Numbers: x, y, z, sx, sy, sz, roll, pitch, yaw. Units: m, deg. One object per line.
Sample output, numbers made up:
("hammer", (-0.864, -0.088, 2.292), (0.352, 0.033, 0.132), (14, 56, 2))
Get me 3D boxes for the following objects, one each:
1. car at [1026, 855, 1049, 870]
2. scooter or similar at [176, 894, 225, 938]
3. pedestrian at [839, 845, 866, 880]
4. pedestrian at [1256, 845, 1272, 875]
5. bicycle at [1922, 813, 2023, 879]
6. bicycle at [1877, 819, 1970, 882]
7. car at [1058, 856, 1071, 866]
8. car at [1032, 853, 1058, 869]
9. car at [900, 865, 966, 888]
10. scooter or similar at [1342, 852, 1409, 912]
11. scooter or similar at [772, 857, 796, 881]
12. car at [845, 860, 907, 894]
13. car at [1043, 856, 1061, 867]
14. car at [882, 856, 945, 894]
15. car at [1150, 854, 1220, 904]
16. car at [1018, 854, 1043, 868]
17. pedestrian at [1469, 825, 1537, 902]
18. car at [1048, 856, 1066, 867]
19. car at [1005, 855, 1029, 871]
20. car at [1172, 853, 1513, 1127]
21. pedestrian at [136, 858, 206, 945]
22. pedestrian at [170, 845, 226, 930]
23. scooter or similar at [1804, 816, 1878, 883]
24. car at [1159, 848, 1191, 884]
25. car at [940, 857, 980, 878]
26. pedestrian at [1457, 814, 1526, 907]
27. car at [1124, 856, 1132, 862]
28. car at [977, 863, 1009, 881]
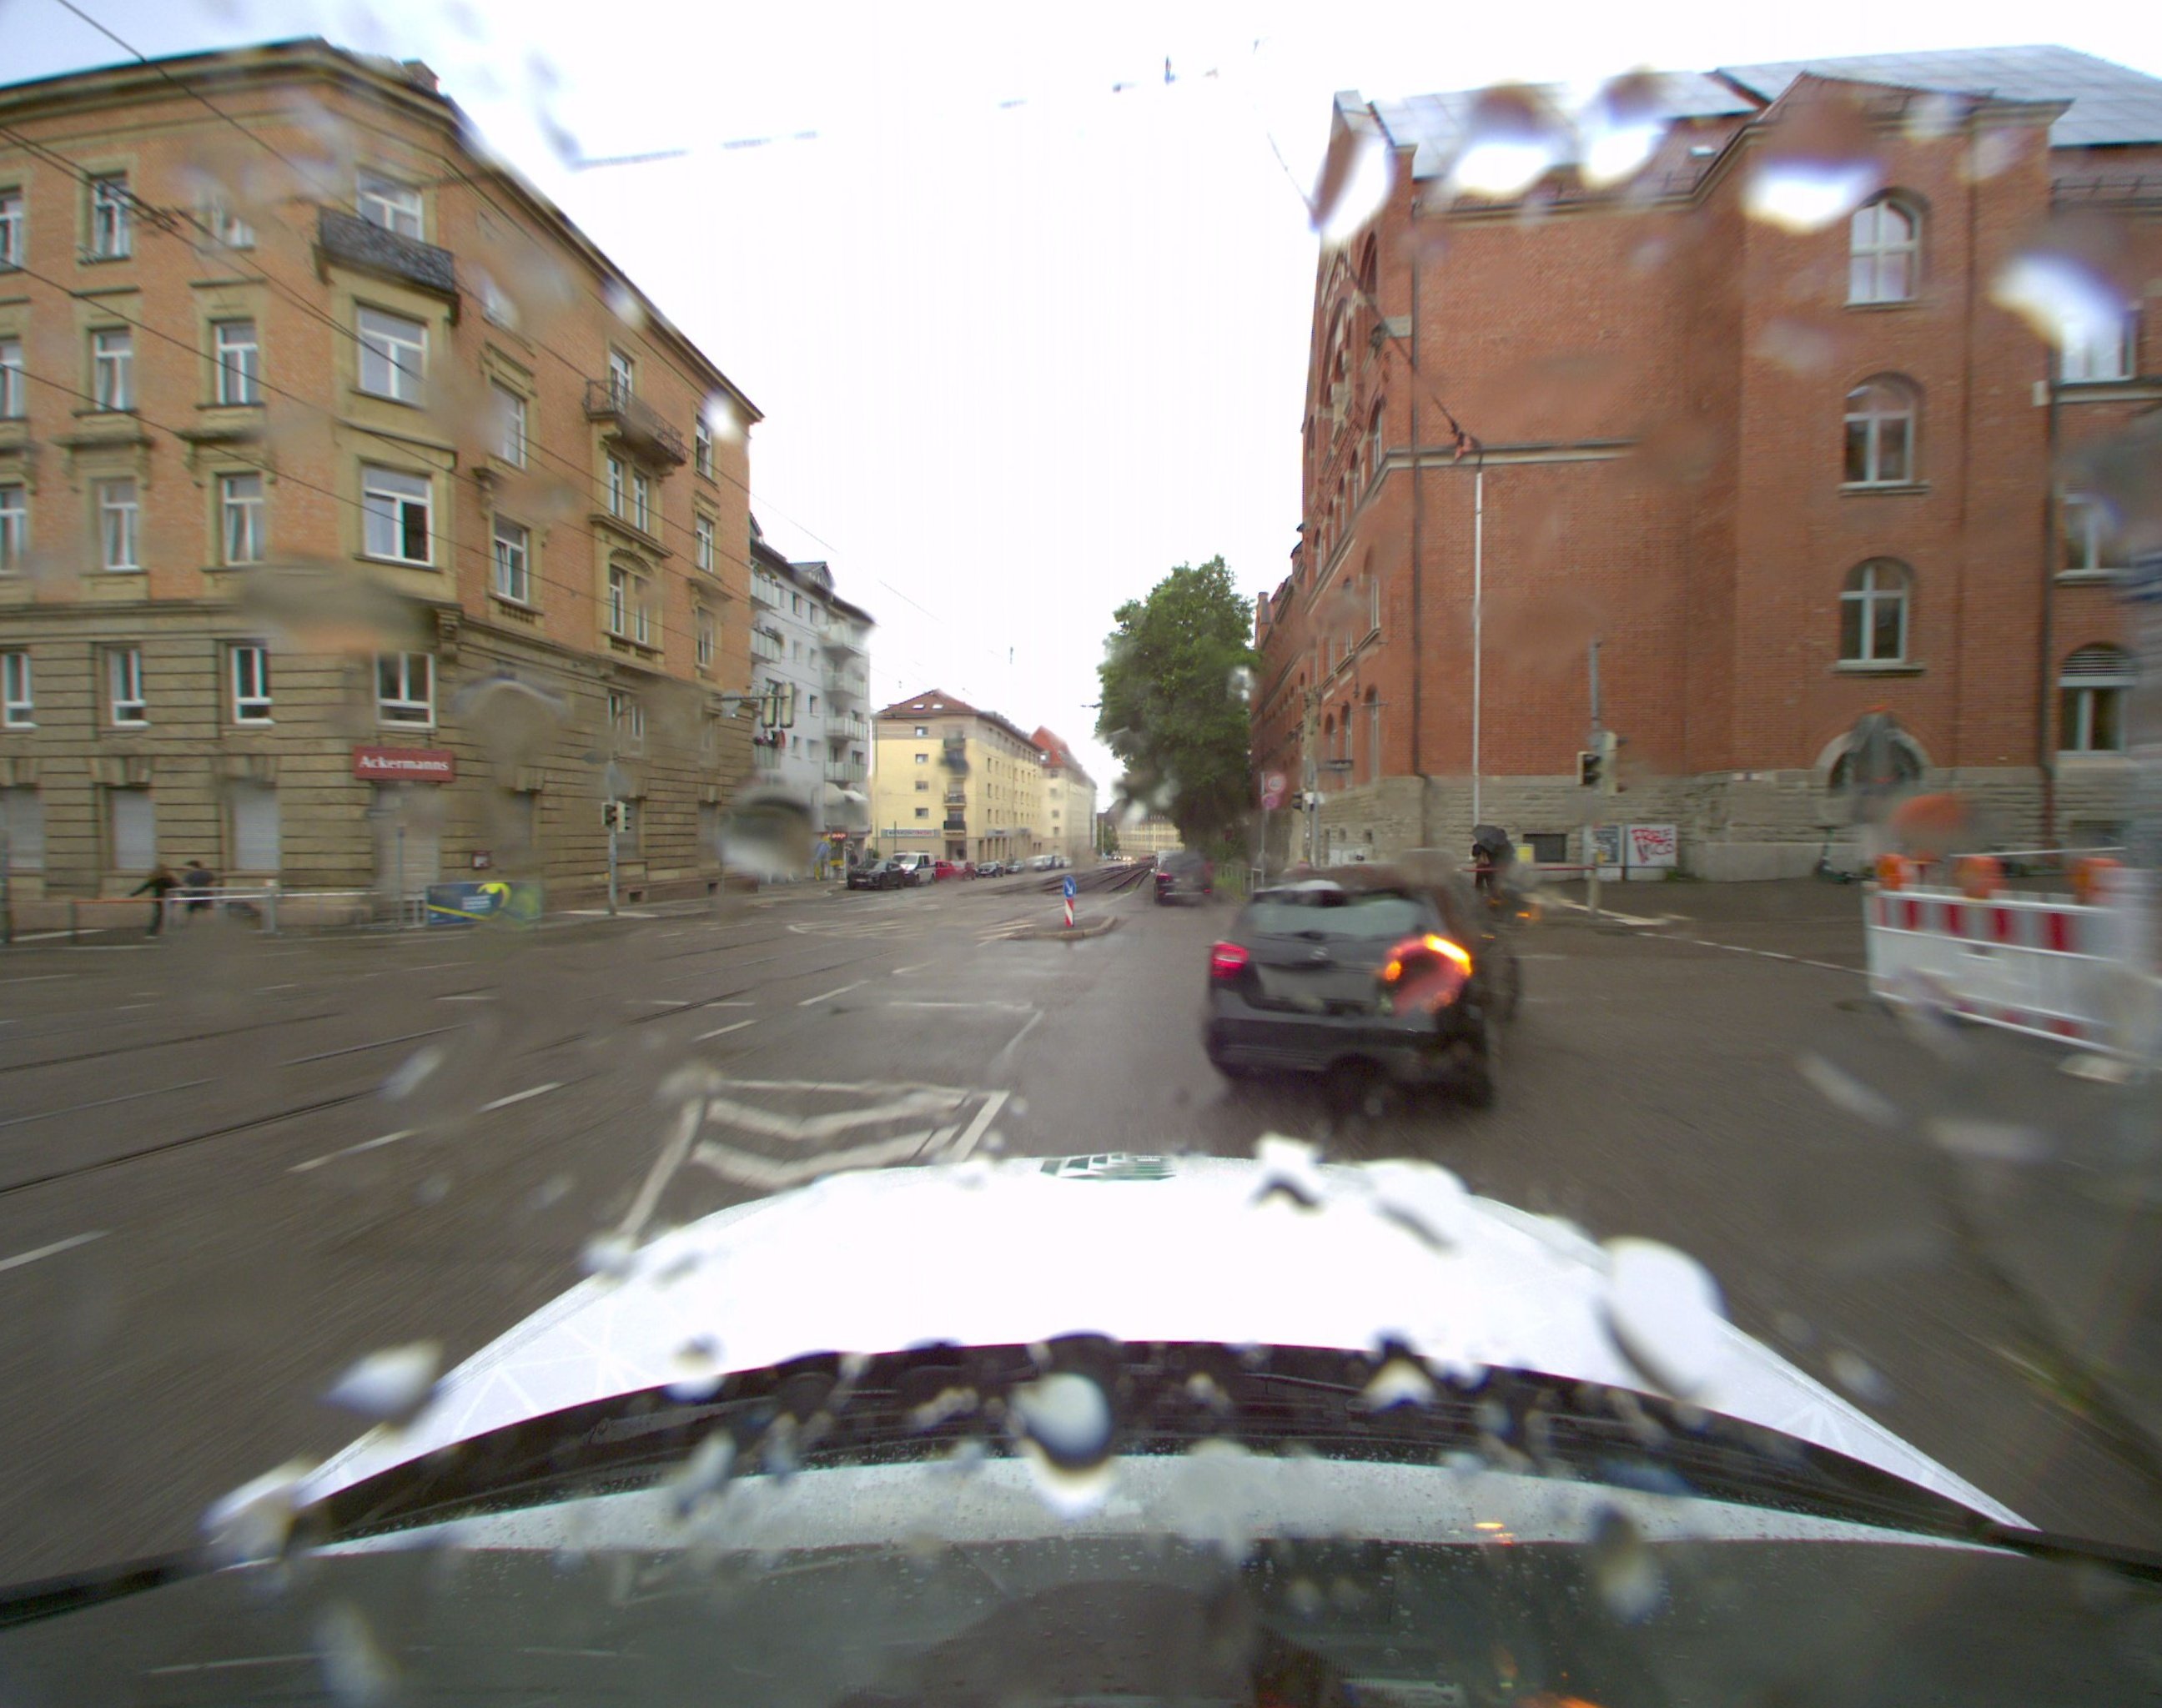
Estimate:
("car", (-4.967, 0.980, 93.457), (1.857, 1.717, 4.469), (-1, 0, 7))
("scooter or similar", (-19.754, 1.381, 18.280), (0.556, 0.945, 0.573), (-1, 0, -24))
("pedestrian", (-12.842, 0.468, 45.792), (1.168, 1.929, 1.177), (-1, 0, -1))
("pedestrian", (10.552, 0.354, 46.904), (0.818, 1.678, 0.862), (-1, -1, 9))
("bicycle", (19.515, -0.208, 17.887), (0.342, 1.244, 1.844), (-4, 5, 5))
("bicycle", (18.519, -0.106, 17.951), (0.411, 1.201, 1.671), (-4, 6, 5))
("car", (-2.349, 0.955, 117.828), (1.697, 1.396, 3.938), (0, 0, 3))
("car", (-4.362, 0.862, 99.370), (1.981, 1.905, 5.475), (1, 0, 10))
("car", (-9.651, 1.448, 53.282), (1.763, 1.434, 4.007), (-1, 0, 40))
("scooter or similar", (6.321, 0.599, 17.490), (1.235, 1.250, 0.642), (-3, -1, 28))
("scooter or similar", (-15.968, 0.819, 43.745), (1.087, 1.209, 0.316), (-4, 0, -5))
("car", (-10.589, 1.151, 42.426), (1.724, 1.651, 4.371), (0, 0, 6))
("car", (-3.697, 0.948, 104.270), (1.682, 1.439, 4.057), (-2, 0, 7))
("car", (-9.899, 1.199, 48.524), (2.059, 2.009, 5.311), (2, 1, 6))
("car", (3.204, 0.745, 25.793), (1.925, 1.453, 4.321), (0, 0, 3))
("car", (-5.371, 0.715, 87.107), (1.841, 1.432, 4.841), (0, 0, 7))
("pedestrian", (9.422, 0.201, 18.227), (0.953, 1.625, 1.075), (-3, 0, 6))
("car", (-3.203, 0.969, 108.793), (1.804, 1.499, 4.591), (0, 0, 6))
("car", (-6.375, 0.886, 81.588), (1.844, 1.508, 4.993), (-1, 0, 1))
("car", (2.348, 0.715, 6.458), (1.777, 1.375, 4.025), (0, 1, 30))
("pedestrian", (-19.357, 0.992, 17.343), (0.622, 1.766, 0.642), (-2, 3, 8))
("pedestrian", (-19.745, 0.733, 18.216), (0.629, 1.840, 0.635), (-1, -1, -26))
("scooter or similar", (16.969, -0.131, 18.214), (0.406, 1.418, 1.521), (-2, 2, 8))
("car", (5.453, 0.686, 47.717), (1.732, 2.014, 3.909), (-1, 0, 5))
("car", (-8.761, 0.938, 59.161), (1.643, 1.451, 4.085), (-1, 0, 10))
("pedestrian", (8.790, 0.134, 17.488), (0.953, 1.887, 1.075), (-3, 0, 6))
("car", (12.216, 1.239, 212.259), (1.702, 1.462, 4.289), (-2, 0, 7))
("car", (-7.337, 1.448, 68.230), (1.671, 1.396, 4.629), (-1, 0, 5))
